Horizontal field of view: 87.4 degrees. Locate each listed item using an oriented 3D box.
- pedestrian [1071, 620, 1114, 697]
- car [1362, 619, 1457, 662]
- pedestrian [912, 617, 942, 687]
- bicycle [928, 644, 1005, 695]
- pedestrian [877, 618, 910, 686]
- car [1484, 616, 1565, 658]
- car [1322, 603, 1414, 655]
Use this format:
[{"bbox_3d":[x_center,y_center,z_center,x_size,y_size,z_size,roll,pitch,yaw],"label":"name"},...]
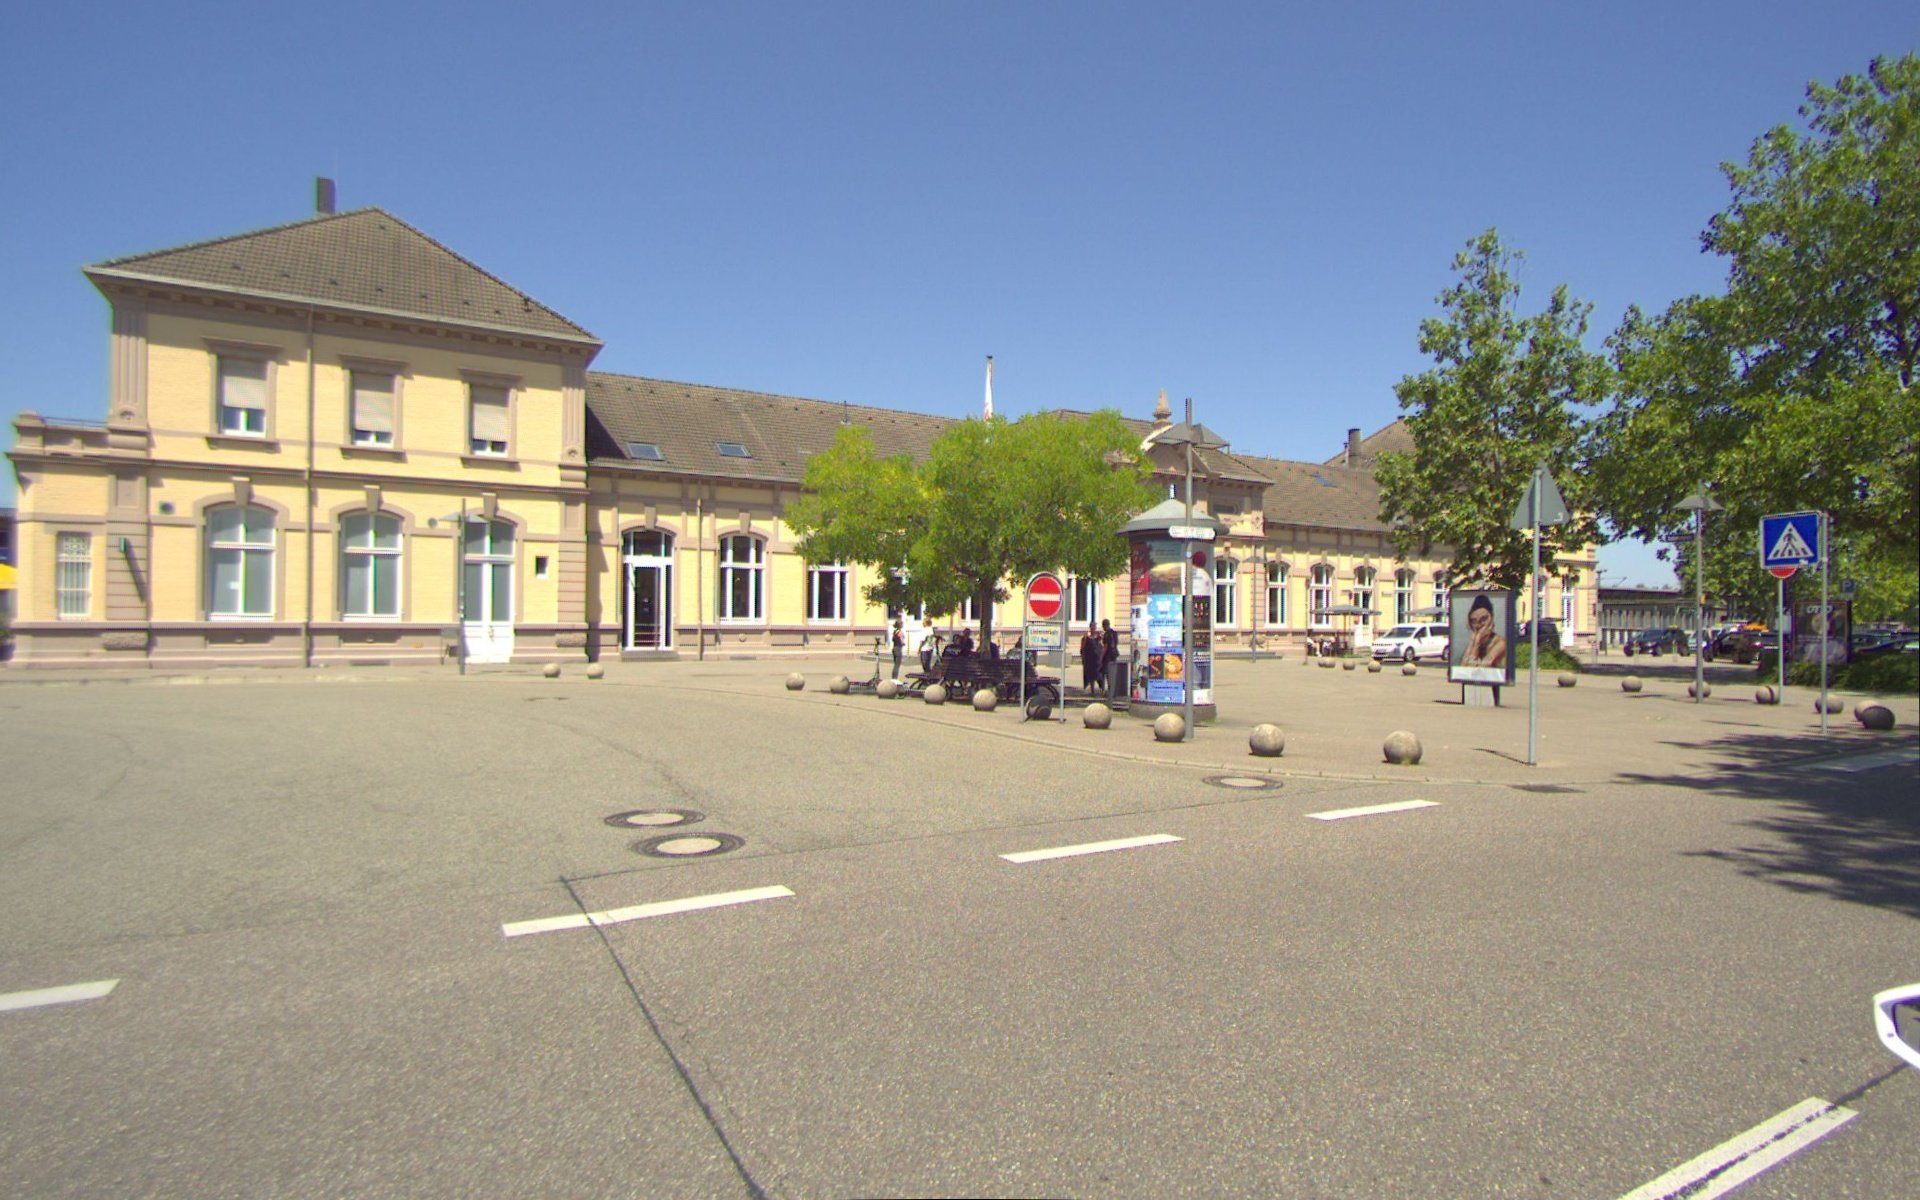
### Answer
[{"bbox_3d":[2.968,1.317,22.597,0.708,1.681,0.761,2,-2,-13],"label":"pedestrian"},{"bbox_3d":[21.209,1.929,47.352,4.720,1.942,1.743,2,-2,-31],"label":"car"},{"bbox_3d":[-0.824,1.314,25.479,0.573,1.732,0.588,1,-2,14],"label":"pedestrian"},{"bbox_3d":[0.132,1.517,22.176,1.770,1.044,0.487,0,-1,37],"label":"bicycle"},{"bbox_3d":[-1.697,1.313,25.640,0.644,1.695,0.632,1,-2,14],"label":"pedestrian"},{"bbox_3d":[29.138,1.909,51.823,3.954,2.040,1.984,3,-2,-31],"label":"car"},{"bbox_3d":[20.663,1.457,50.854,4.948,2.501,1.710,1,0,-32],"label":"car"}]
